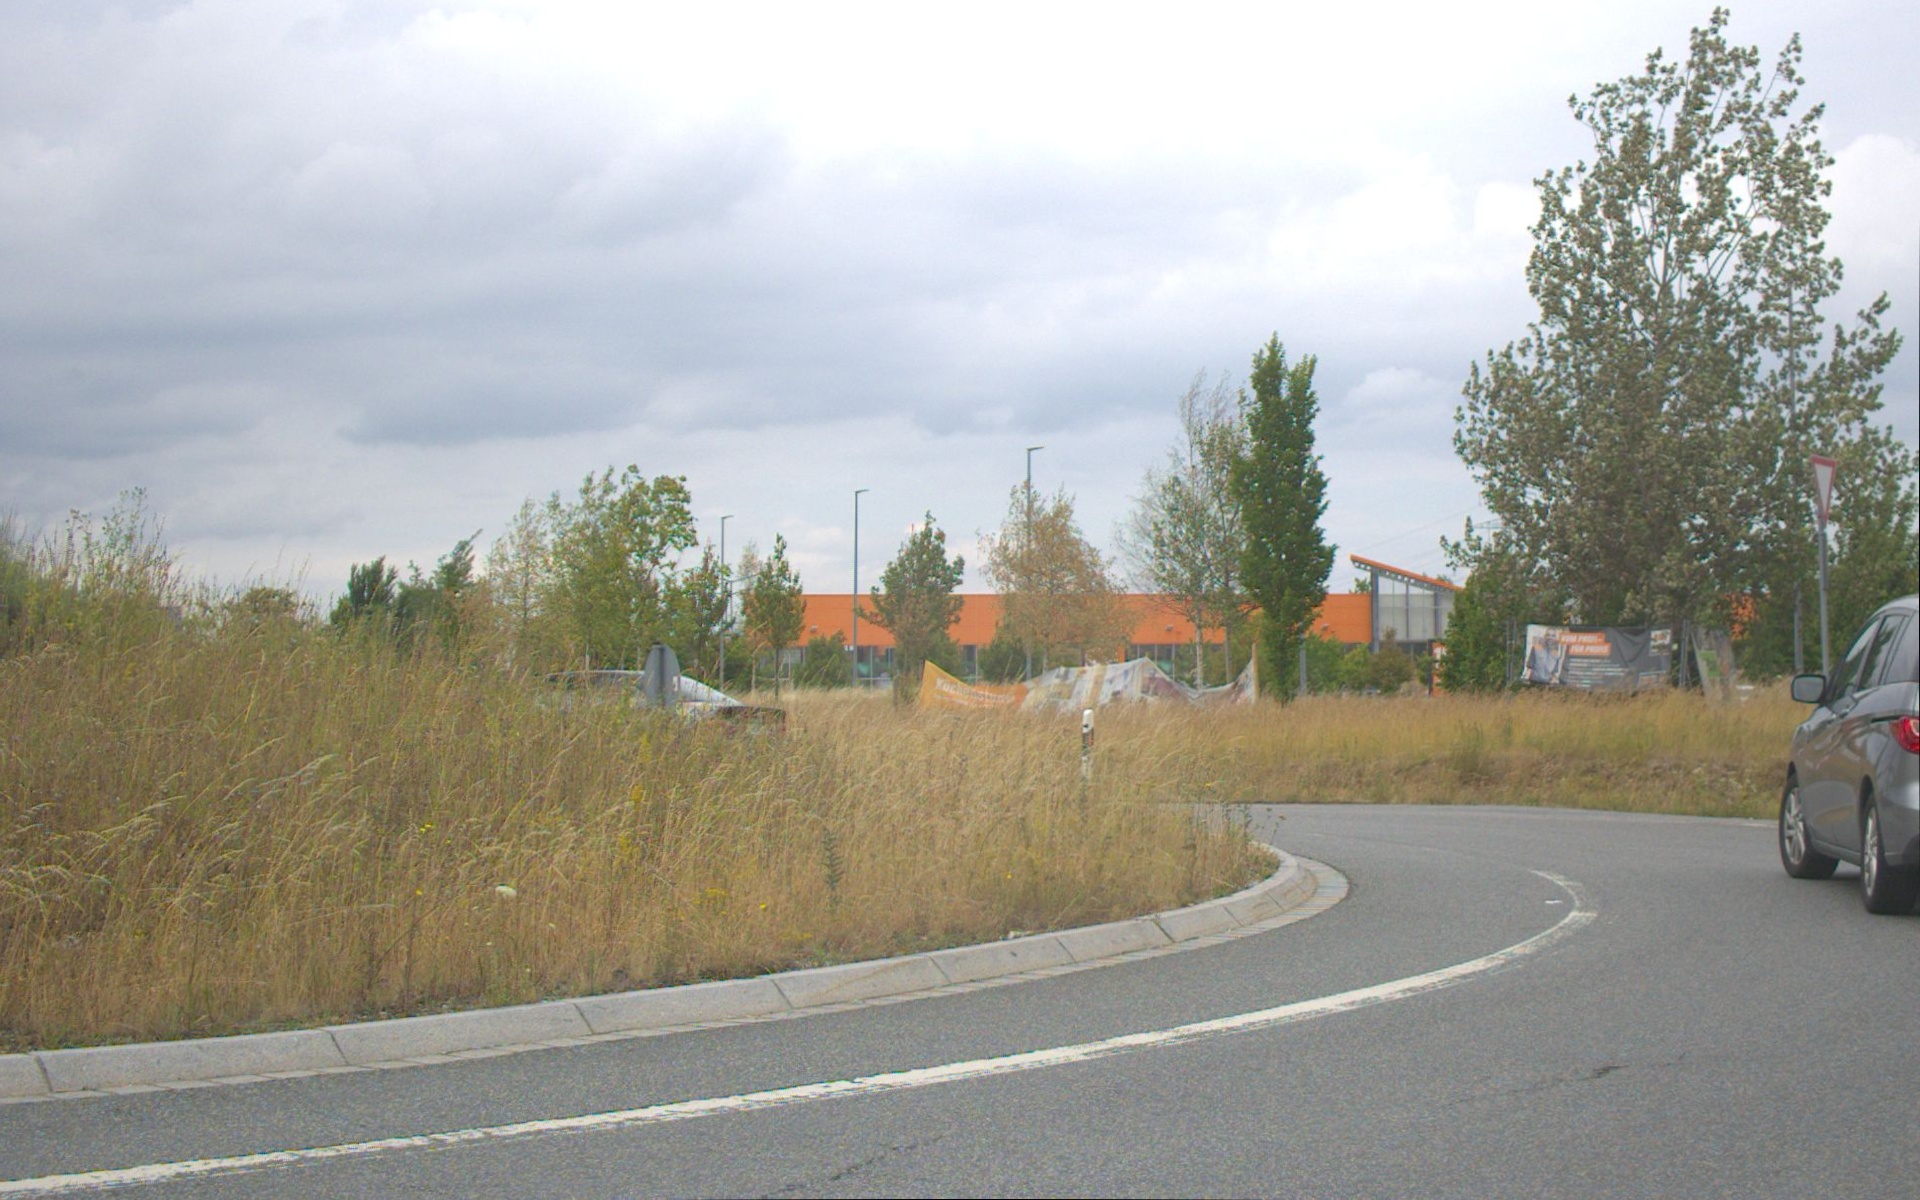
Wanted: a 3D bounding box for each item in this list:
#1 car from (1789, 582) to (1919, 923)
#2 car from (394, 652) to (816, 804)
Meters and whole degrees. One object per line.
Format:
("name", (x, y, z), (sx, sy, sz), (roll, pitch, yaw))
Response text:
("car", (5.451, 0.729, 17.959), (1.738, 1.593, 3.996), (1, 0, 8))
("car", (-3.663, 1.281, 35.444), (3.989, 1.399, 1.741), (1, 0, 24))
